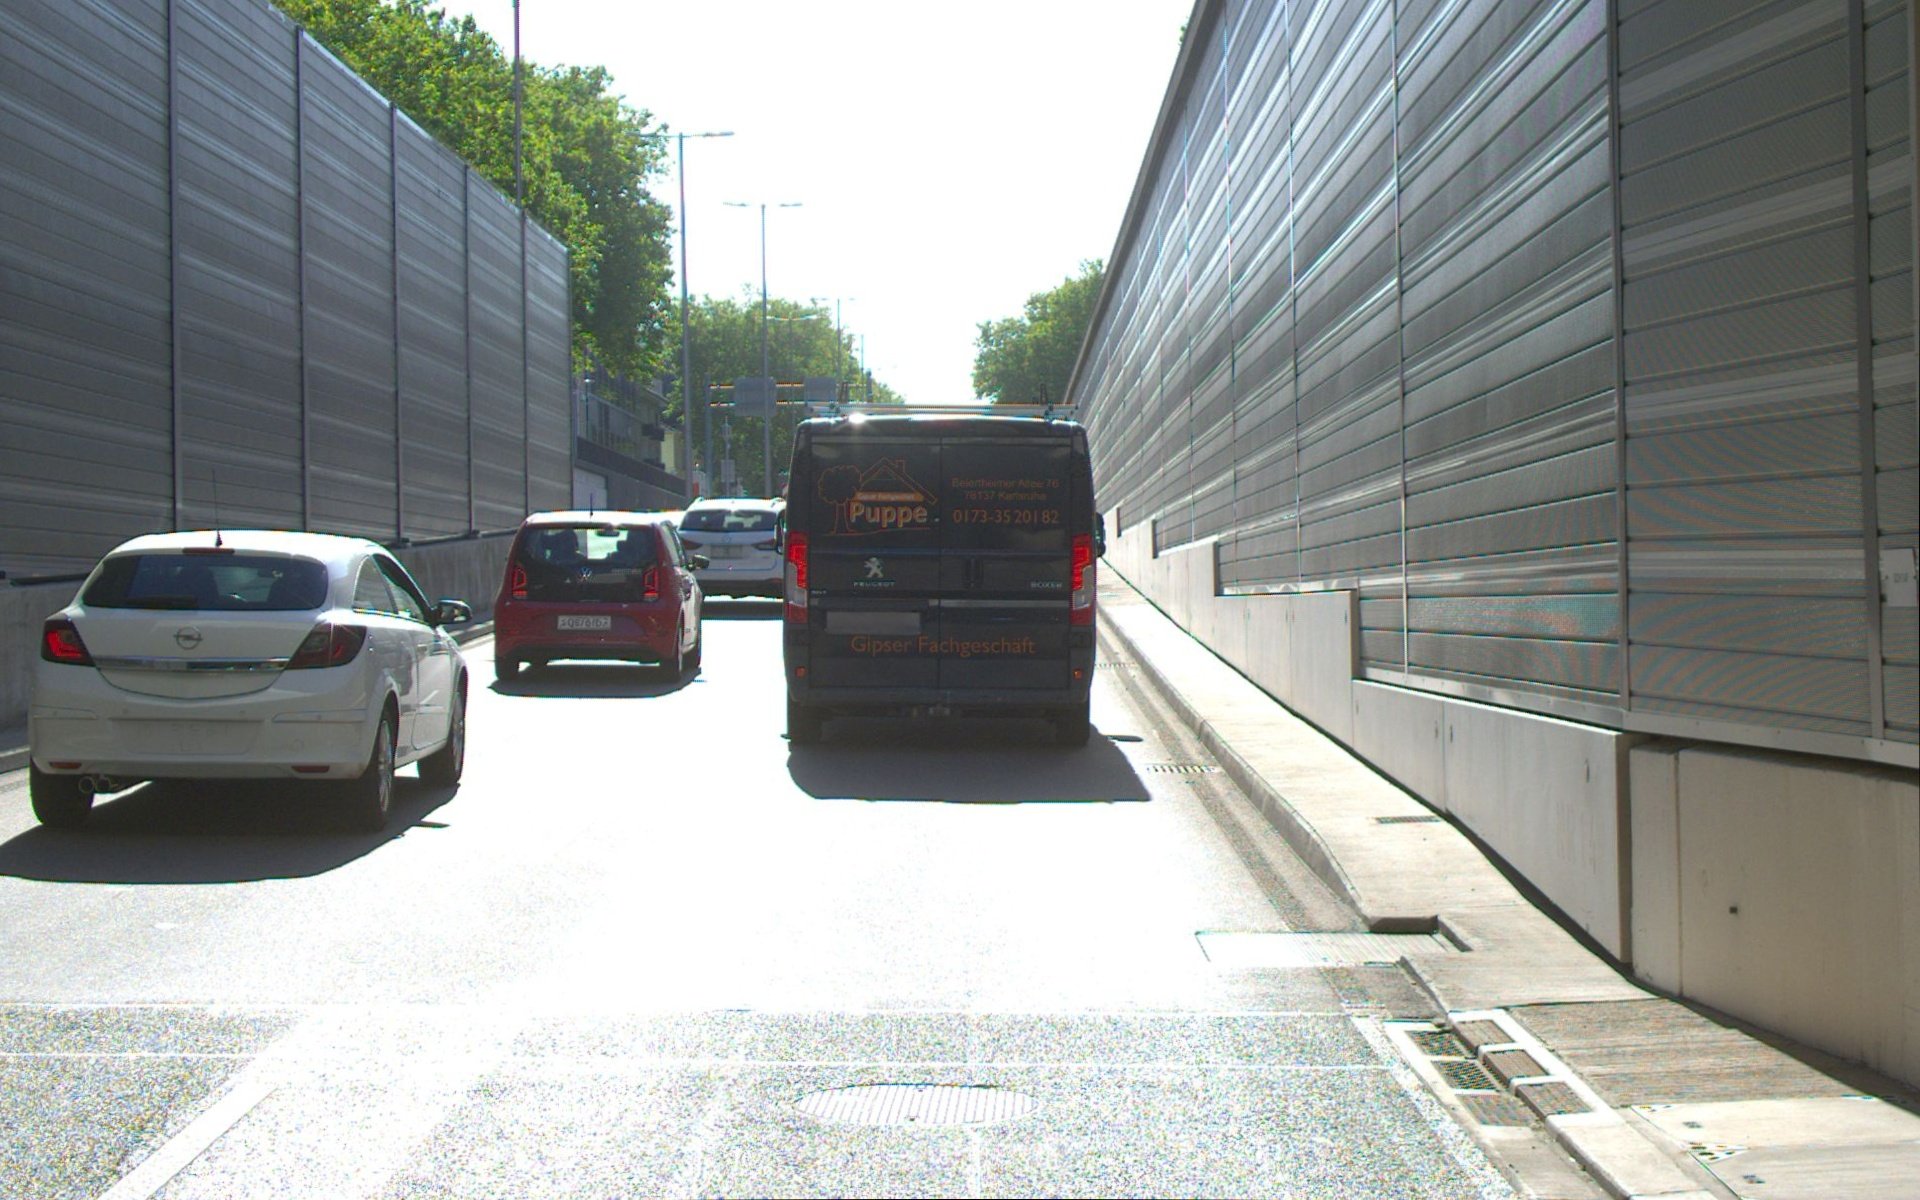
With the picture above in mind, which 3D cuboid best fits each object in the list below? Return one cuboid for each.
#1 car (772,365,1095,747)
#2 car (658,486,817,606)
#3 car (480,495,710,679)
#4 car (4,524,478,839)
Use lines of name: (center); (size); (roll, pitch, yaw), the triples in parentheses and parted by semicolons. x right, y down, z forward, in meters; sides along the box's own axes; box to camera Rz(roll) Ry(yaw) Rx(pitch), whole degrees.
car: (-0.144, -0.337, 23.610); (2.030, 2.394, 3.973); (0, 2, 1)
car: (-2.912, -0.753, 45.704); (1.892, 1.469, 3.991); (1, 2, -1)
car: (-3.211, -0.160, 30.759); (1.689, 1.478, 3.319); (1, 3, 0)
car: (-3.585, 0.333, 17.767); (1.619, 1.398, 3.852); (1, 2, 0)
